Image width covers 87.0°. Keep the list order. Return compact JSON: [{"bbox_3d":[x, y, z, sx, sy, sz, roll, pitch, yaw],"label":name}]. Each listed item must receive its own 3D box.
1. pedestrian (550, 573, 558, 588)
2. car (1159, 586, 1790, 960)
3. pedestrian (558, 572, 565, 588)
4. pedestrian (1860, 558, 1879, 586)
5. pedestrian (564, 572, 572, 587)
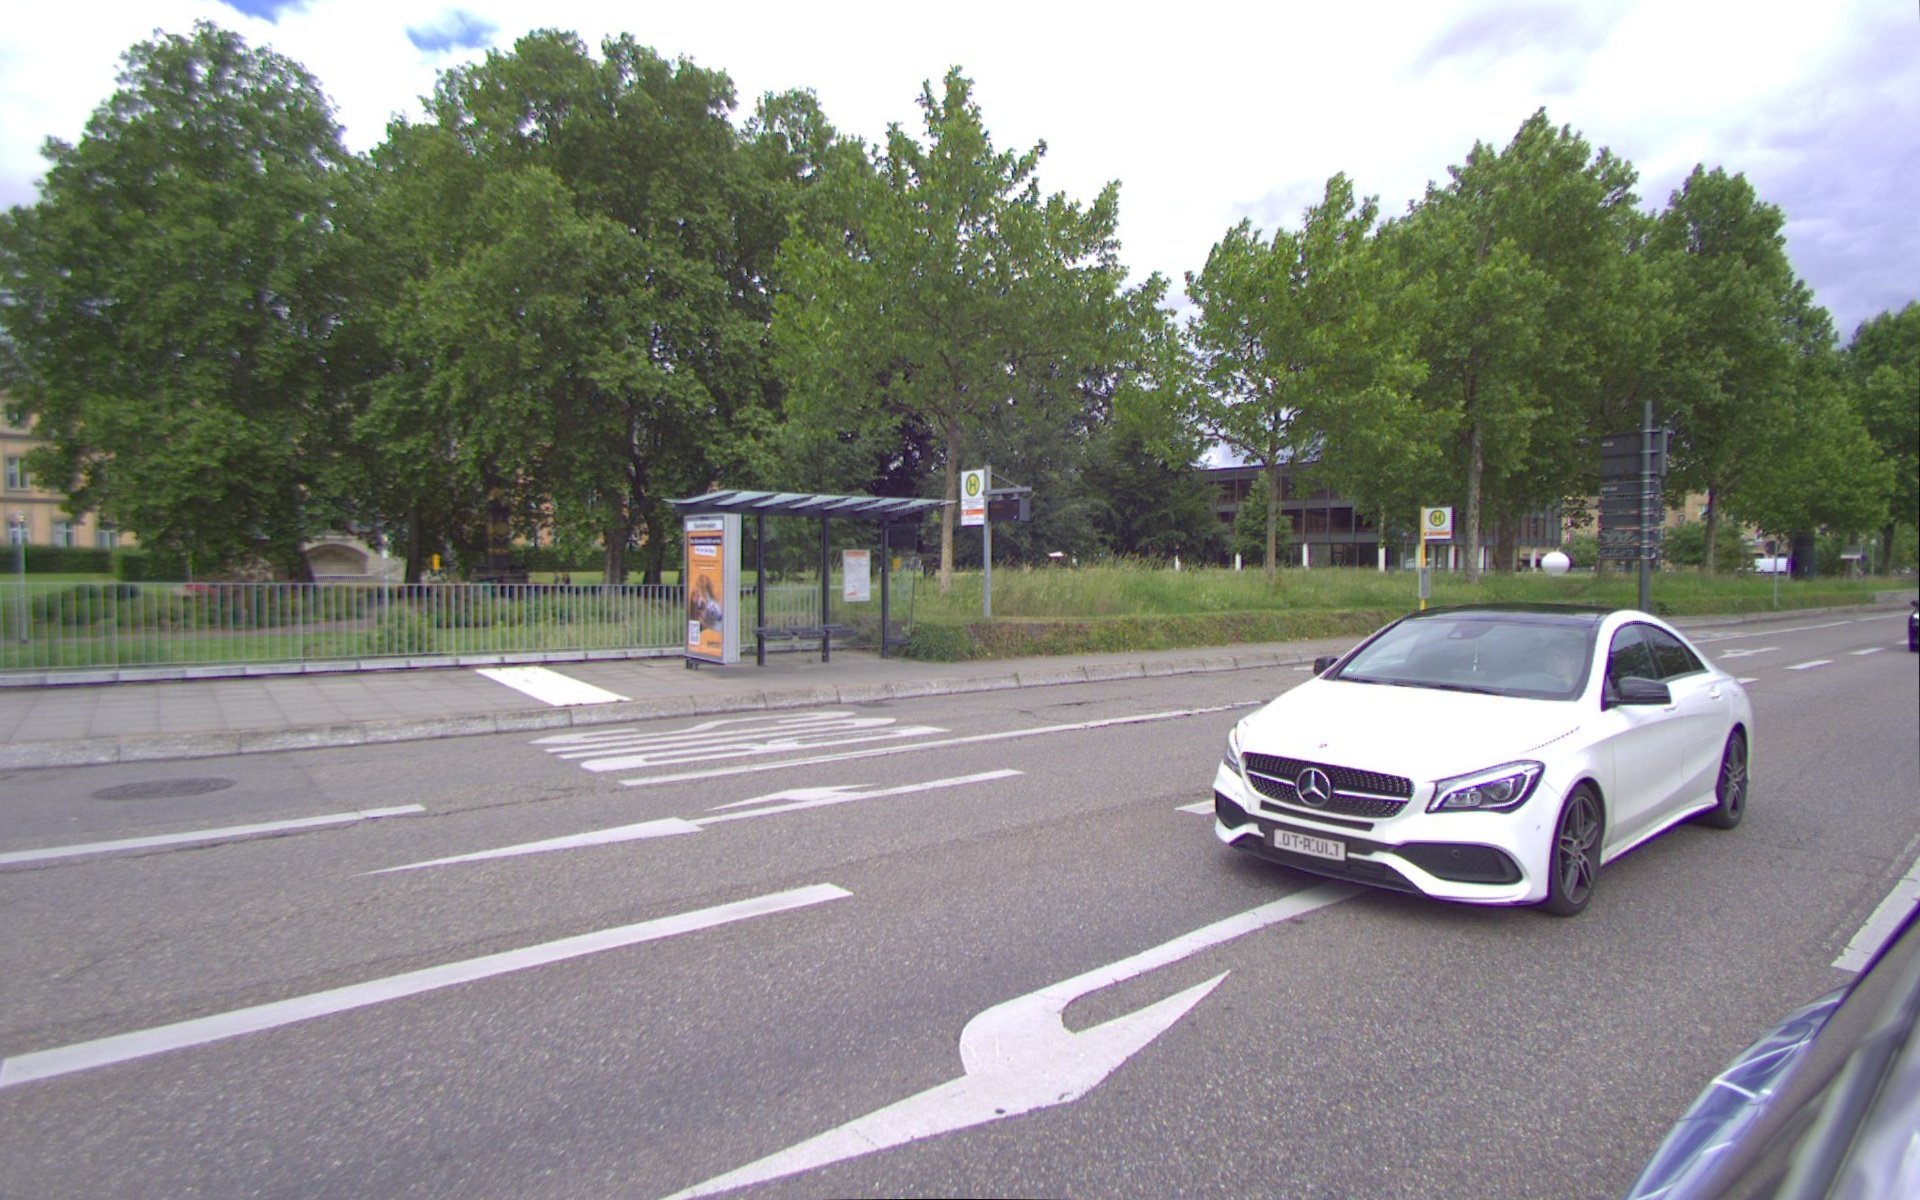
[{"bbox_3d":[-36.106,-1.759,89.986,0.401,1.347,0.465,-1,0,21],"label":"pedestrian"},{"bbox_3d":[3.350,0.663,6.163,4.446,1.437,1.799,-1,2,-39],"label":"car"},{"bbox_3d":[-35.311,-1.777,89.657,0.401,1.347,0.465,-1,0,21],"label":"pedestrian"},{"bbox_3d":[69.589,-2.138,77.426,1.160,2.039,0.891,-2,0,-40],"label":"pedestrian"},{"bbox_3d":[-34.617,-1.791,89.328,0.401,1.347,0.465,-1,0,21],"label":"pedestrian"}]
